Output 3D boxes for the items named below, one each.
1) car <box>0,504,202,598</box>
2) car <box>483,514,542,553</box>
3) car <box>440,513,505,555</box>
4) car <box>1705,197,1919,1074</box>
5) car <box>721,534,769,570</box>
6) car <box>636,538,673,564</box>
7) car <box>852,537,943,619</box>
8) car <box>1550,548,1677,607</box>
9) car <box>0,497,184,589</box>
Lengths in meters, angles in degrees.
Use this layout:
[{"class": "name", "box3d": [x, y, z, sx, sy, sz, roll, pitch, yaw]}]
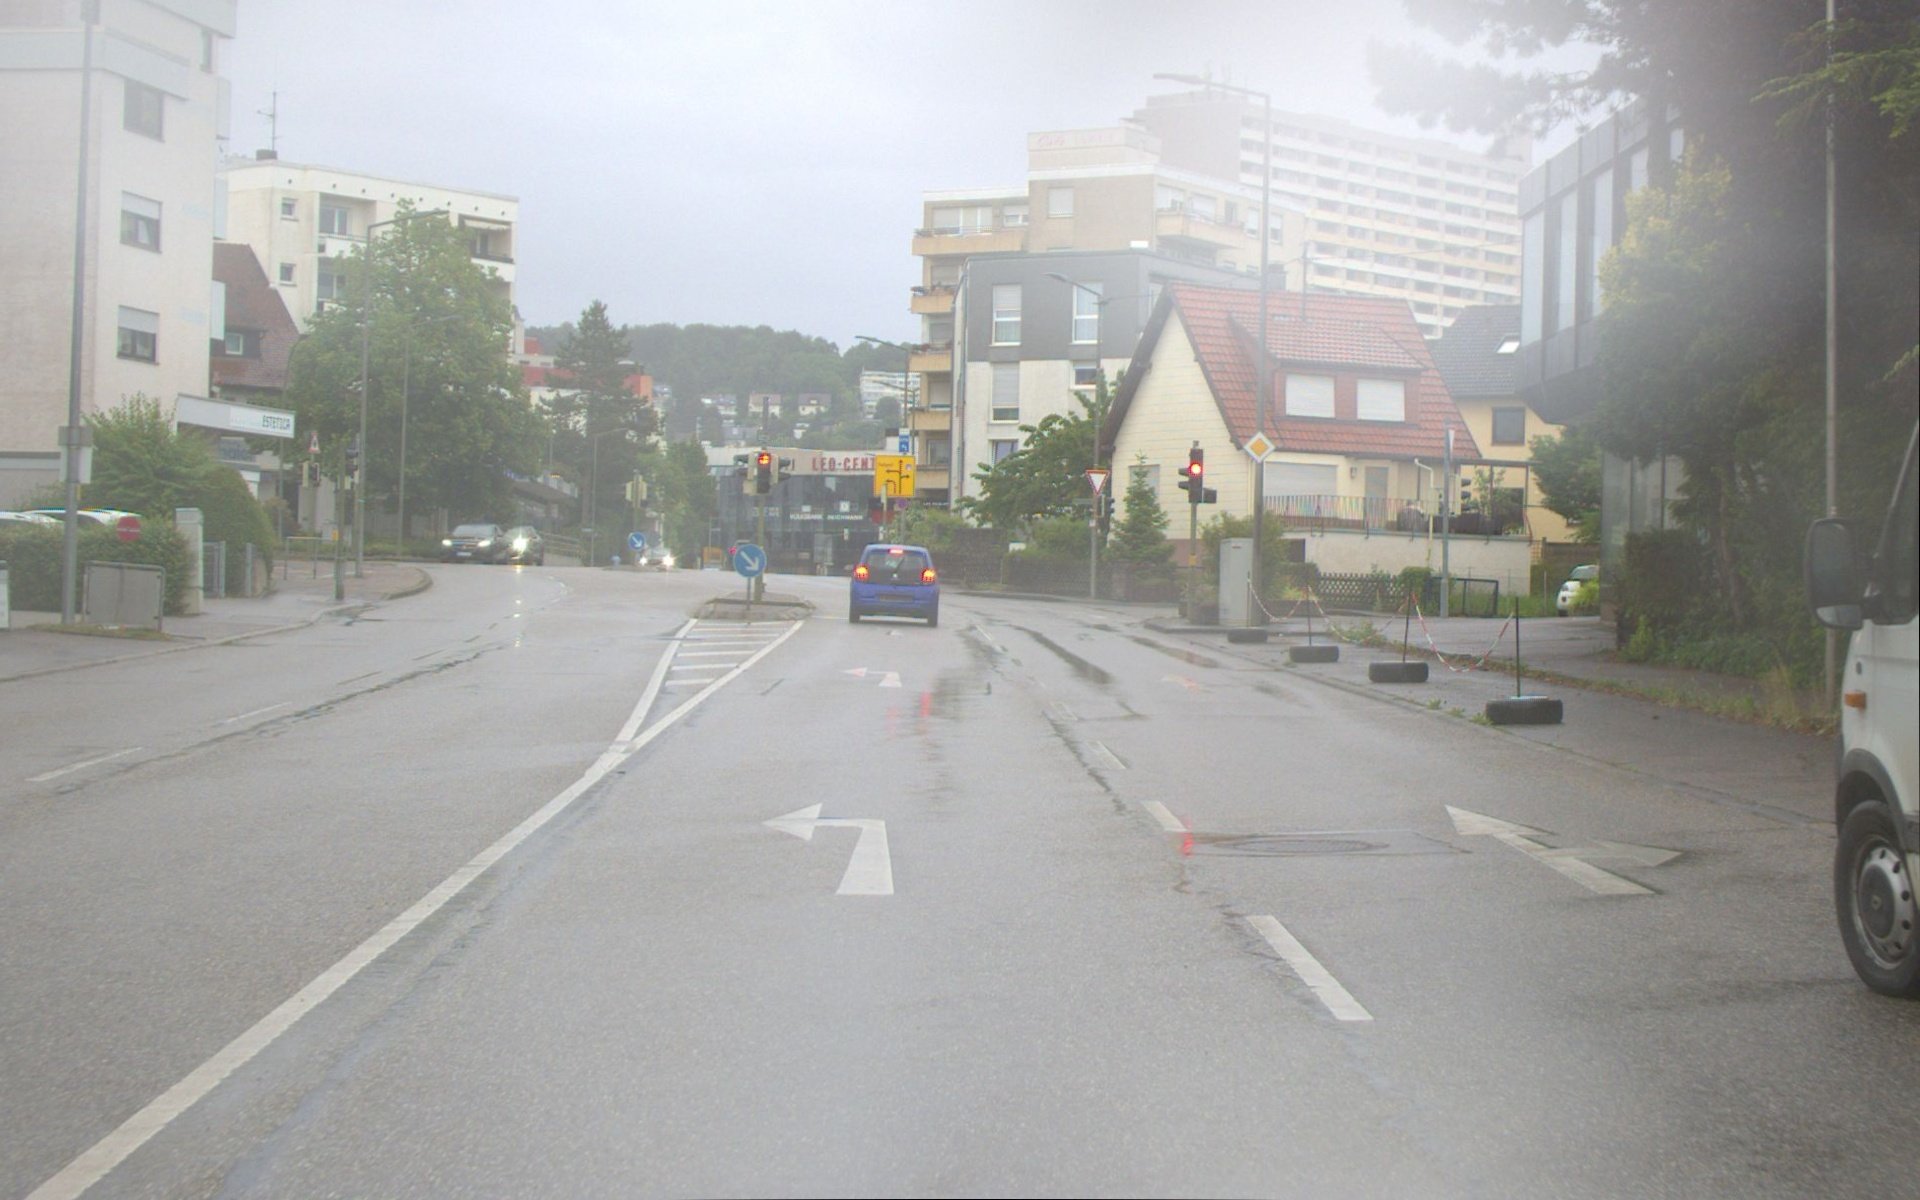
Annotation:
[{"class": "car", "box3d": [-14.936, -0.831, 56.996, 4.220, 1.469, 1.904, 1, 1, 5]}, {"class": "car", "box3d": [-16.610, -2.484, 127.759, 1.715, 1.382, 4.021, 2, 1, -1]}, {"class": "car", "box3d": [-17.089, -2.324, 120.591, 1.778, 1.415, 3.831, 2, 1, -1]}, {"class": "car", "box3d": [3.865, 0.112, 8.801, 2.391, 2.423, 6.433, 0, 1, -1]}, {"class": "car", "box3d": [-9.306, -2.095, 149.126, 1.813, 1.481, 4.189, 1, 1, 0]}, {"class": "car", "box3d": [-17.115, -2.748, 192.700, 1.778, 1.415, 3.831, 2, 1, -1]}, {"class": "car", "box3d": [-1.127, -0.417, 62.725, 1.578, 1.406, 3.270, 2, 1, -1]}, {"class": "car", "box3d": [17.546, -0.591, 92.195, 1.743, 1.509, 3.991, 3, 1, 36]}, {"class": "car", "box3d": [-17.059, -1.091, 64.523, 4.452, 1.631, 1.938, 1, 1, 9]}]
